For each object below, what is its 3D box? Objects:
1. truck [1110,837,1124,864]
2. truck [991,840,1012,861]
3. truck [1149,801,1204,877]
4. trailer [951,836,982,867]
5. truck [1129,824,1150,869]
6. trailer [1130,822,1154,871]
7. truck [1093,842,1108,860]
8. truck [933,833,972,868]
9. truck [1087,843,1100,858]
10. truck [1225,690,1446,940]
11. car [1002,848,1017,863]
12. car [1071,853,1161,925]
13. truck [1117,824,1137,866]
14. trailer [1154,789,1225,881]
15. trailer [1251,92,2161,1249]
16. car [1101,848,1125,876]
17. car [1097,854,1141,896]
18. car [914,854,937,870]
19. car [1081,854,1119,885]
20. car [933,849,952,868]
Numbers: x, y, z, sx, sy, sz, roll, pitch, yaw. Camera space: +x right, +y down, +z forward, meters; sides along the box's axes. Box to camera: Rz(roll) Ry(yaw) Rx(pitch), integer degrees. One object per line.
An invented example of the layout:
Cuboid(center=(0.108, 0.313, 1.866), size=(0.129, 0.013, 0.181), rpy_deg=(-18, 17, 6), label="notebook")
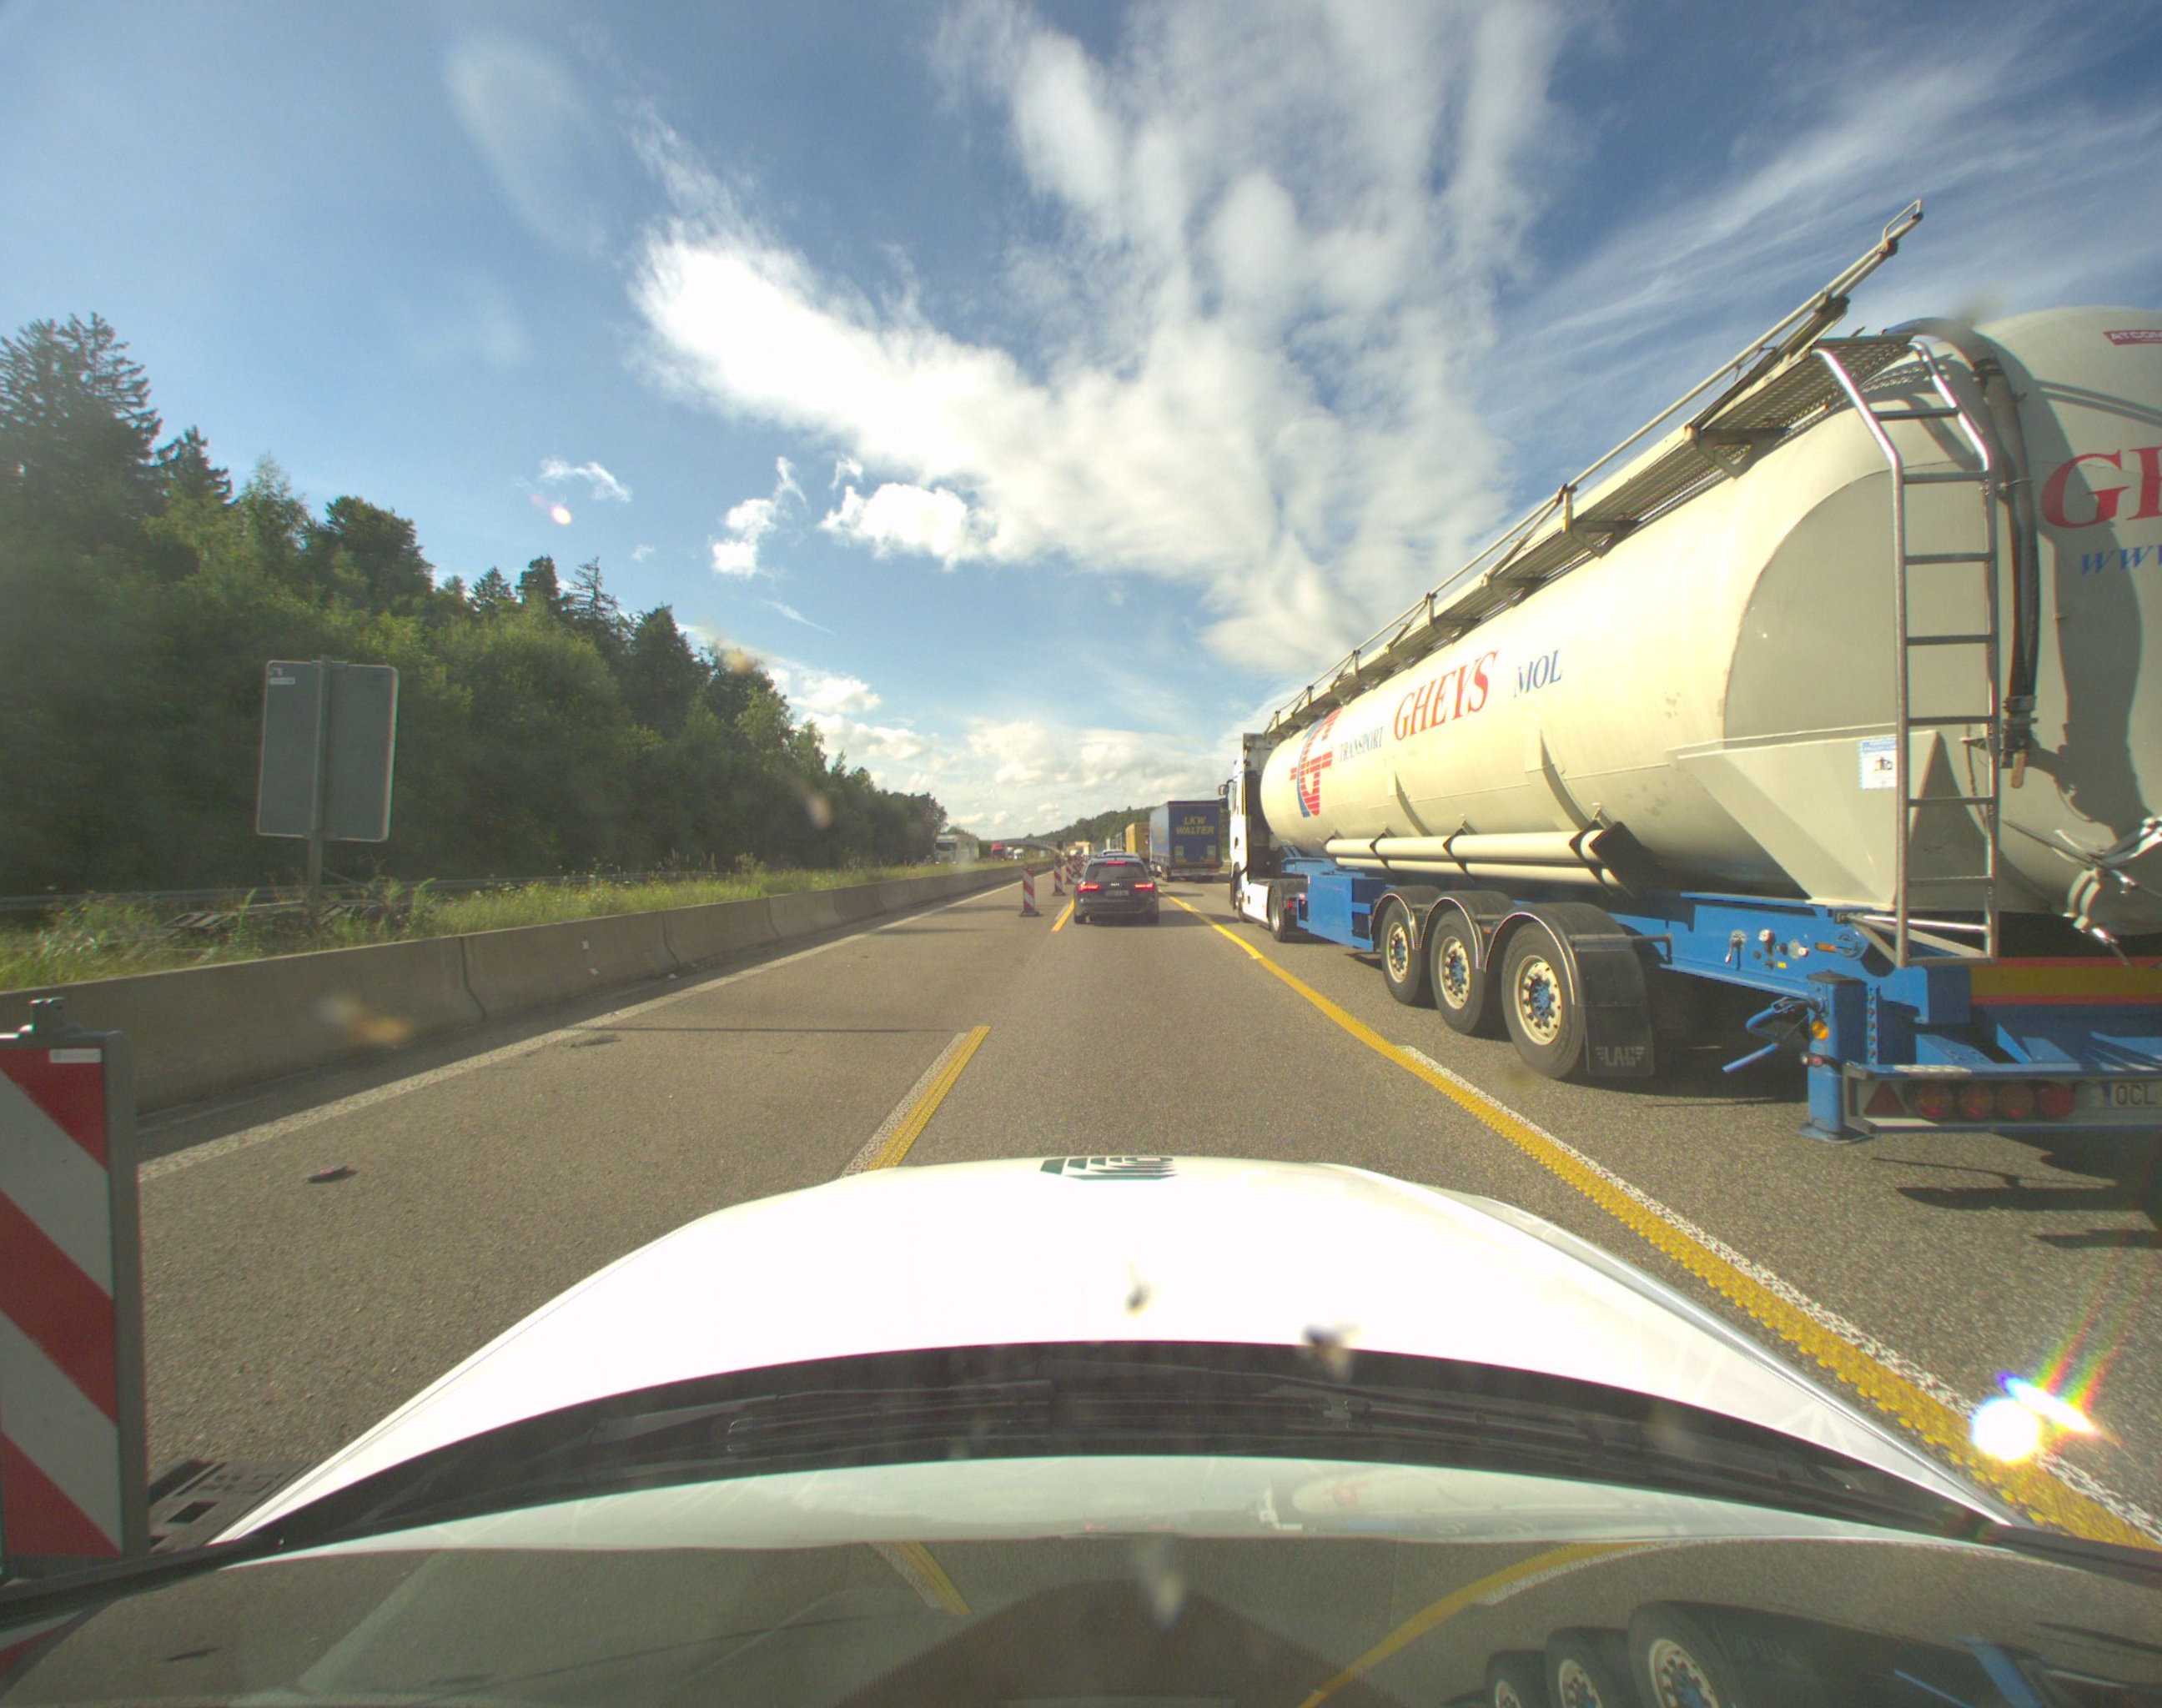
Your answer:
Cuboid(center=(5.829, -0.512, 132.780), size=(2.129, 4.257, 7.073), rpy_deg=(0, -1, 2), label="truck")
Cuboid(center=(-15.583, -0.679, 160.289), size=(2.790, 3.992, 10.190), rpy_deg=(-1, 0, 2), label="truck")
Cuboid(center=(5.888, -0.849, 51.273), size=(2.795, 4.370, 7.795), rpy_deg=(0, -1, 2), label="truck")
Cuboid(center=(-15.304, -0.295, 109.362), size=(2.780, 3.923, 8.491), rpy_deg=(0, -1, 2), label="trailer")
Cuboid(center=(5.247, -0.636, 73.543), size=(1.604, 3.897, 4.073), rpy_deg=(0, -1, 1), label="truck")
Cuboid(center=(5.149, -0.594, 69.461), size=(1.611, 3.918, 6.490), rpy_deg=(0, -1, 1), label="trailer")
Cuboid(center=(4.654, -0.651, 196.247), size=(3.293, 4.175, 9.701), rpy_deg=(-1, 0, 0), label="truck")
Cuboid(center=(-15.567, -0.342, 99.640), size=(2.772, 3.985, 10.866), rpy_deg=(0, -1, 2), label="truck")
Cuboid(center=(3.368, -0.883, 226.905), size=(3.294, 4.174, 9.697), rpy_deg=(-1, 0, -1), label="truck")
Cuboid(center=(4.554, -0.604, 15.876), size=(2.649, 3.972, 5.781), rpy_deg=(0, -1, 2), label="truck")
Cuboid(center=(-16.516, 0.313, 187.822), size=(2.478, 3.370, 7.454), rpy_deg=(0, -1, 1), label="car")
Cuboid(center=(0.800, 0.735, 18.811), size=(1.841, 1.463, 4.002), rpy_deg=(-1, -1, 2), label="car")
Cuboid(center=(5.688, -1.099, 101.020), size=(1.987, 4.914, 9.562), rpy_deg=(-1, 0, 1), label="truck")
Cuboid(center=(5.643, -0.868, 44.148), size=(2.795, 4.413, 10.437), rpy_deg=(0, -1, 2), label="trailer")
Cuboid(center=(4.321, -0.627, 9.062), size=(2.634, 3.943, 12.603), rpy_deg=(0, 0, 2), label="trailer")
Cuboid(center=(2.169, 0.545, 55.927), size=(1.575, 1.837, 3.113), rpy_deg=(0, -1, 2), label="car")
Cuboid(center=(1.371, 0.746, 29.906), size=(1.518, 1.439, 3.286), rpy_deg=(0, -1, 2), label="car")
Cuboid(center=(-20.391, 1.040, 106.908), size=(1.986, 2.014, 4.002), rpy_deg=(0, -1, 2), label="car")
Cuboid(center=(0.931, 0.723, 39.281), size=(1.745, 1.397, 3.609), rpy_deg=(0, -1, 2), label="car")
Cuboid(center=(-19.849, 0.595, 116.766), size=(2.247, 2.643, 5.010), rpy_deg=(0, -1, -5), label="car")
